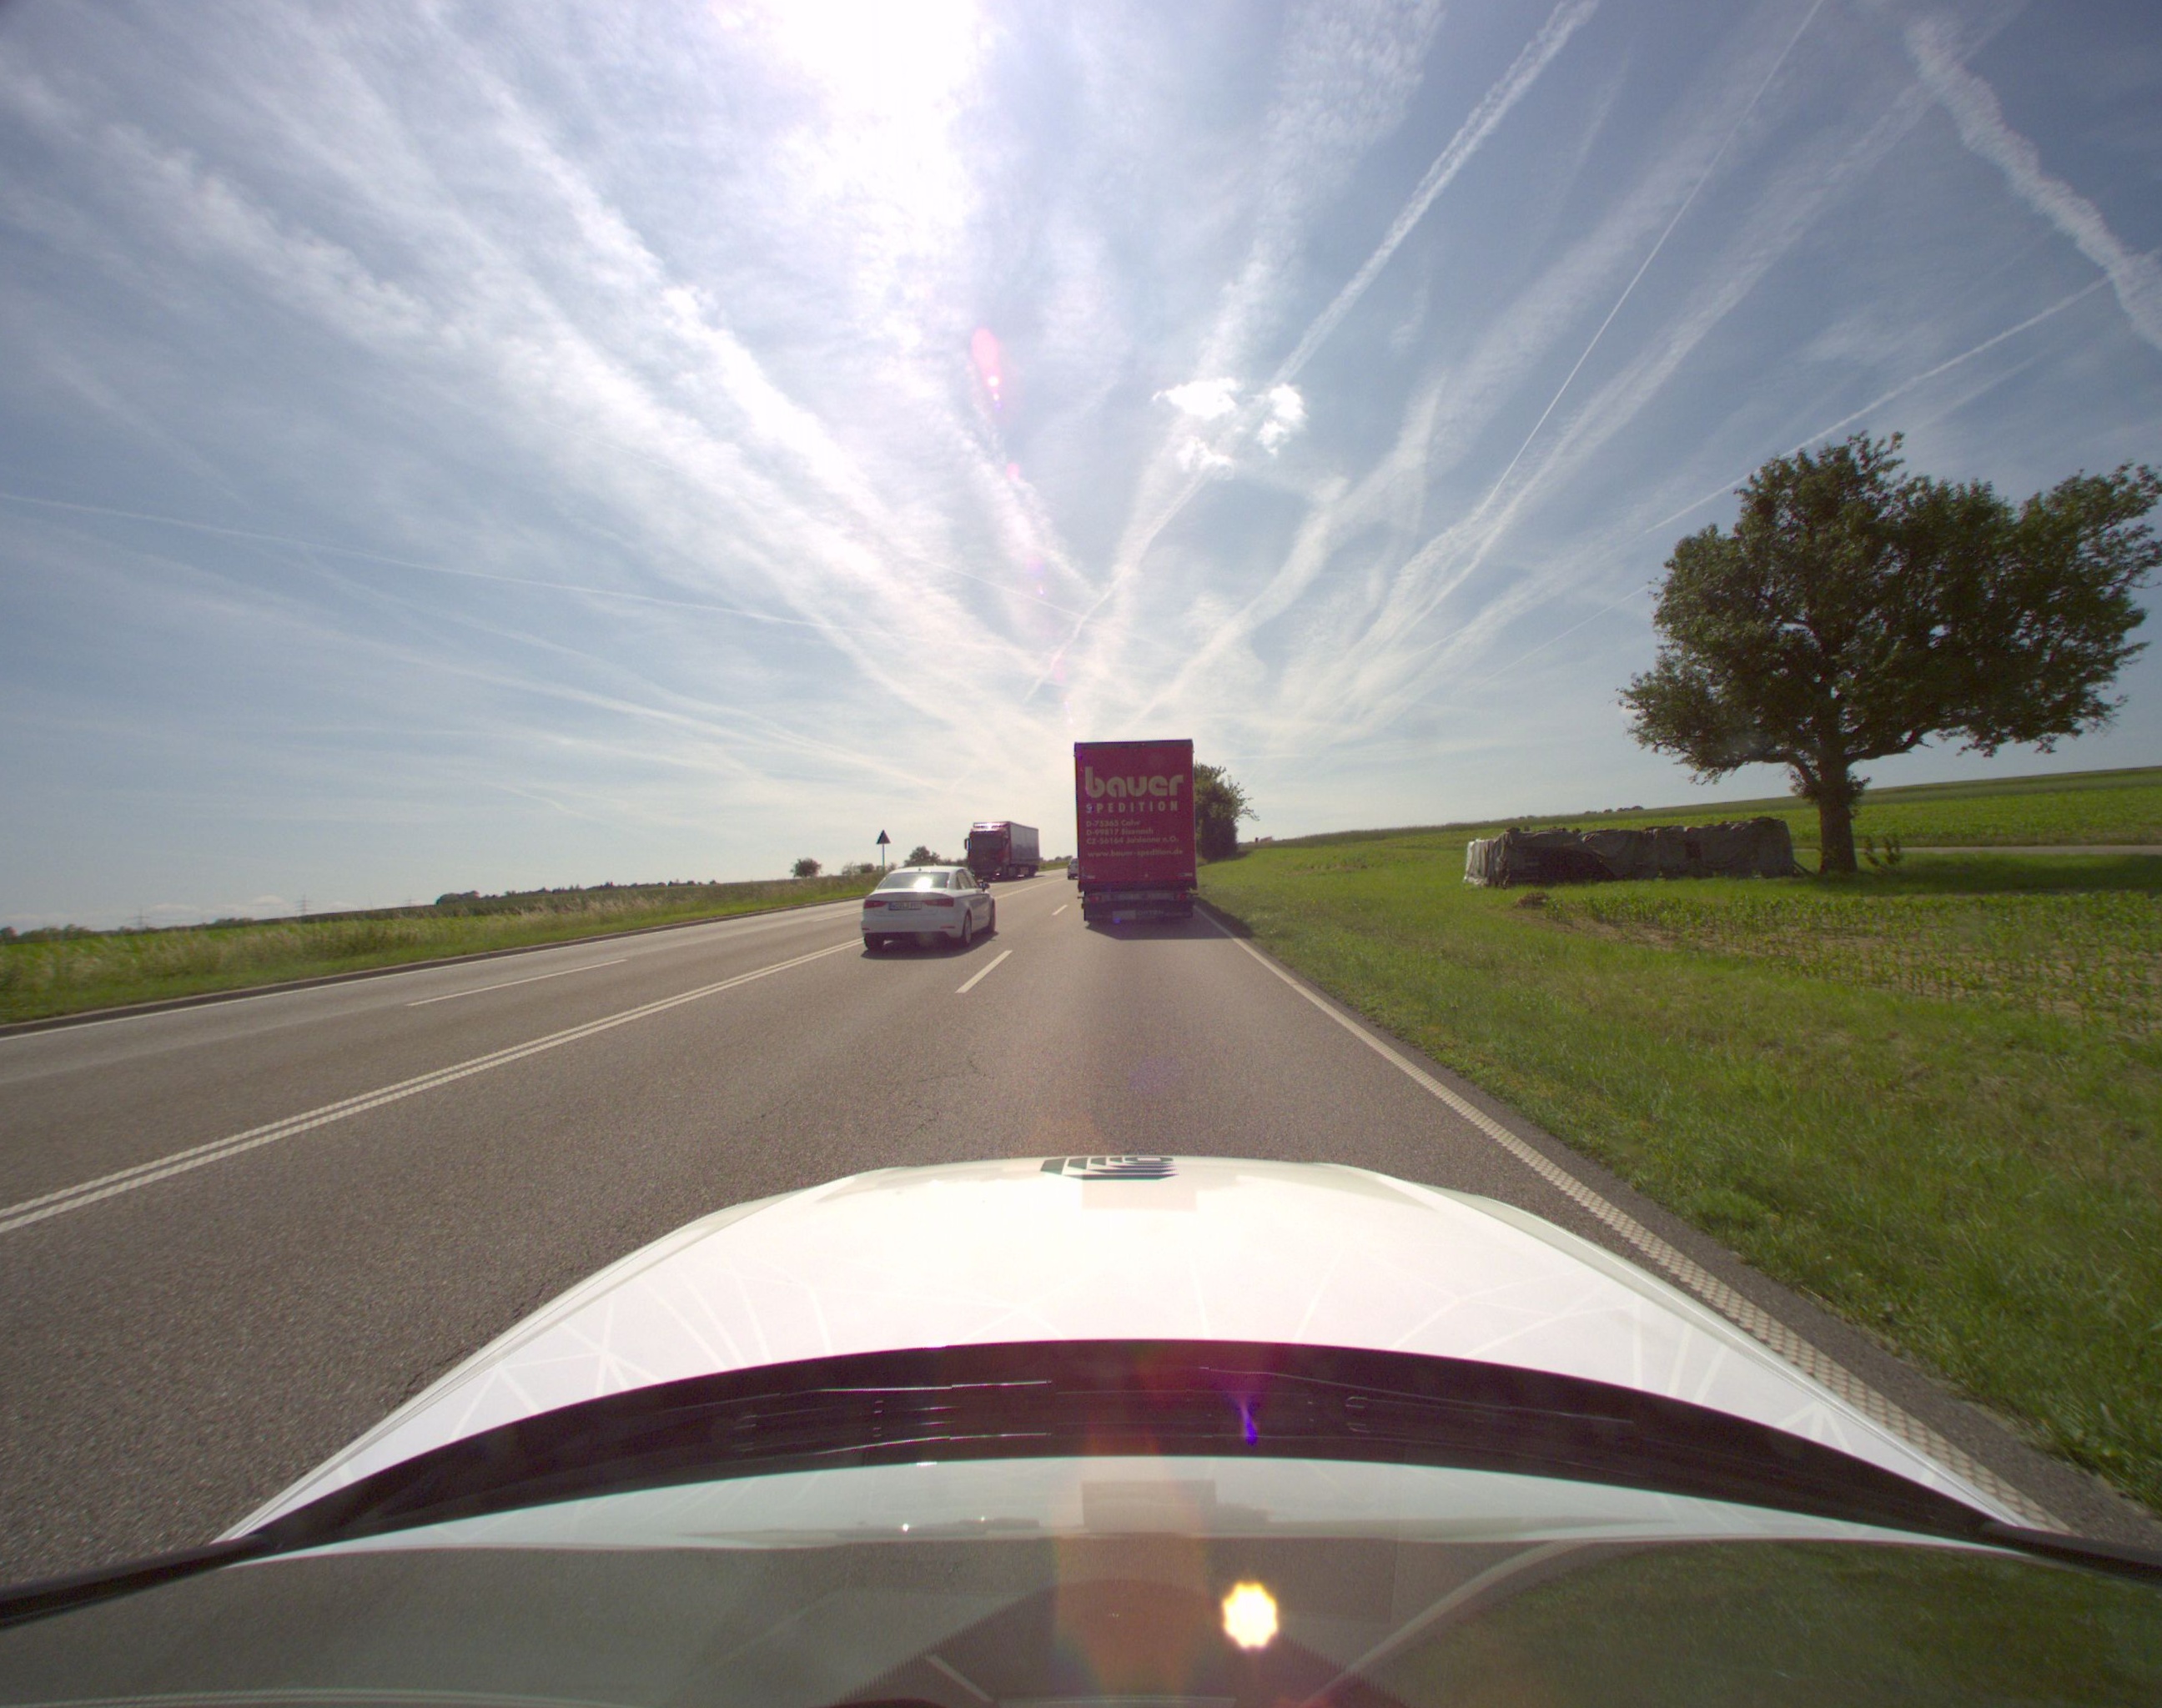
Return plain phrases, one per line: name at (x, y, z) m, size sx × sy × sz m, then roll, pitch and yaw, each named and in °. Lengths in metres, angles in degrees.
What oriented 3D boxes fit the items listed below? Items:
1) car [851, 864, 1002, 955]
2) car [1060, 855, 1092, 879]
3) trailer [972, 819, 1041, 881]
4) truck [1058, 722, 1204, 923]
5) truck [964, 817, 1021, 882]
car at (-2.675, 0.905, 15.216) m, size 1.696 × 1.376 × 4.607 m, roll -1°, pitch 0°, yaw 3°
car at (-0.284, 0.833, 54.544) m, size 1.813 × 1.472 × 4.792 m, roll -1°, pitch 0°, yaw 3°
trailer at (-5.468, -0.277, 62.714) m, size 2.532 × 4.101 × 13.605 m, roll -3°, pitch 0°, yaw 6°
truck at (1.457, -0.605, 25.339) m, size 2.995 × 4.180 × 16.725 m, roll 0°, pitch 0°, yaw 3°
truck at (-6.057, -0.288, 56.541) m, size 2.604 × 4.101 × 6.097 m, roll -3°, pitch 0°, yaw 5°
